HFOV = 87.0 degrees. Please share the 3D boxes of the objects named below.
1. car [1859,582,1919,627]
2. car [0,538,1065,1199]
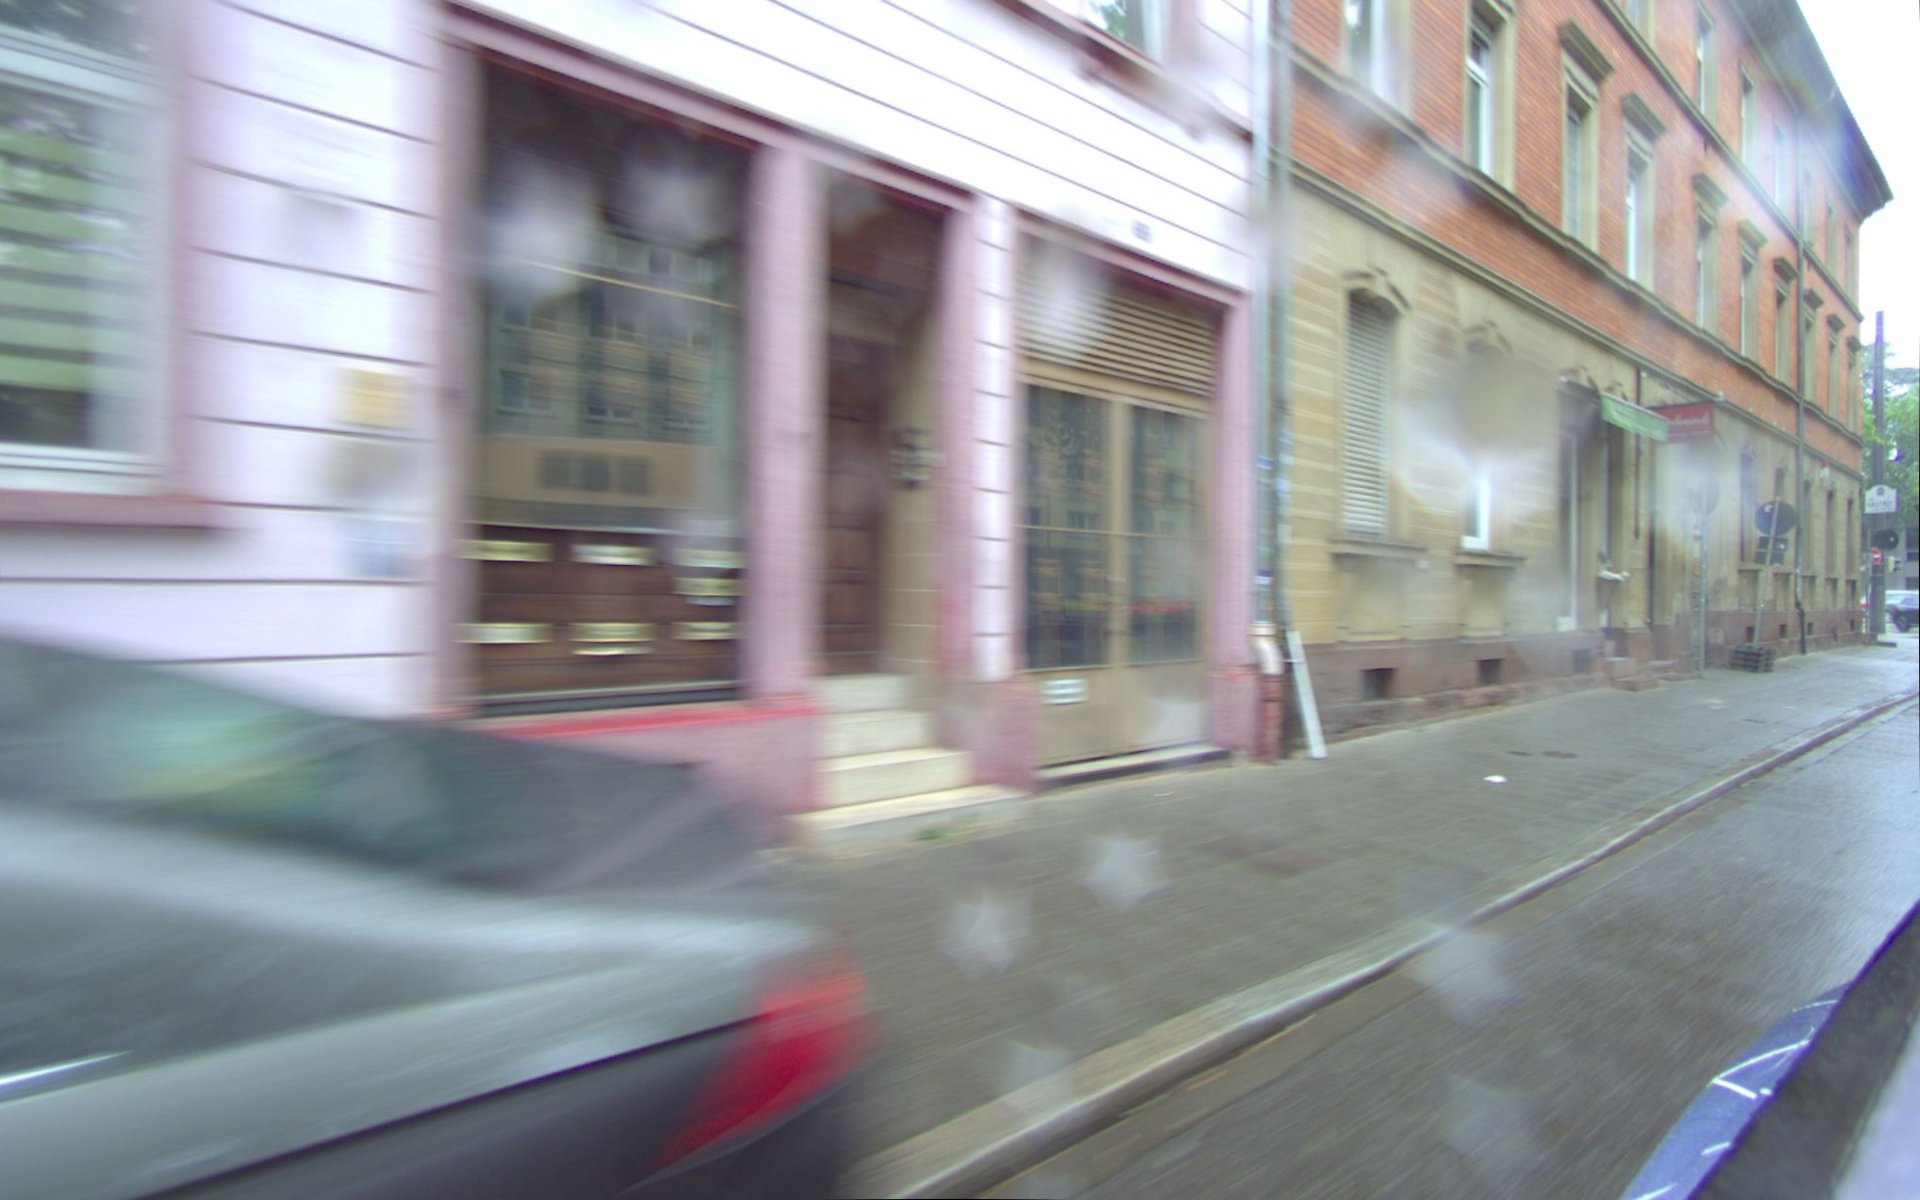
[{"bbox_3d":[46.081,0.198,48.791,3.982,2.038,1.972,2,3,40],"label":"car"},{"bbox_3d":[-2.217,0.650,0.921,4.611,1.438,1.819,0,4,-38],"label":"car"}]
